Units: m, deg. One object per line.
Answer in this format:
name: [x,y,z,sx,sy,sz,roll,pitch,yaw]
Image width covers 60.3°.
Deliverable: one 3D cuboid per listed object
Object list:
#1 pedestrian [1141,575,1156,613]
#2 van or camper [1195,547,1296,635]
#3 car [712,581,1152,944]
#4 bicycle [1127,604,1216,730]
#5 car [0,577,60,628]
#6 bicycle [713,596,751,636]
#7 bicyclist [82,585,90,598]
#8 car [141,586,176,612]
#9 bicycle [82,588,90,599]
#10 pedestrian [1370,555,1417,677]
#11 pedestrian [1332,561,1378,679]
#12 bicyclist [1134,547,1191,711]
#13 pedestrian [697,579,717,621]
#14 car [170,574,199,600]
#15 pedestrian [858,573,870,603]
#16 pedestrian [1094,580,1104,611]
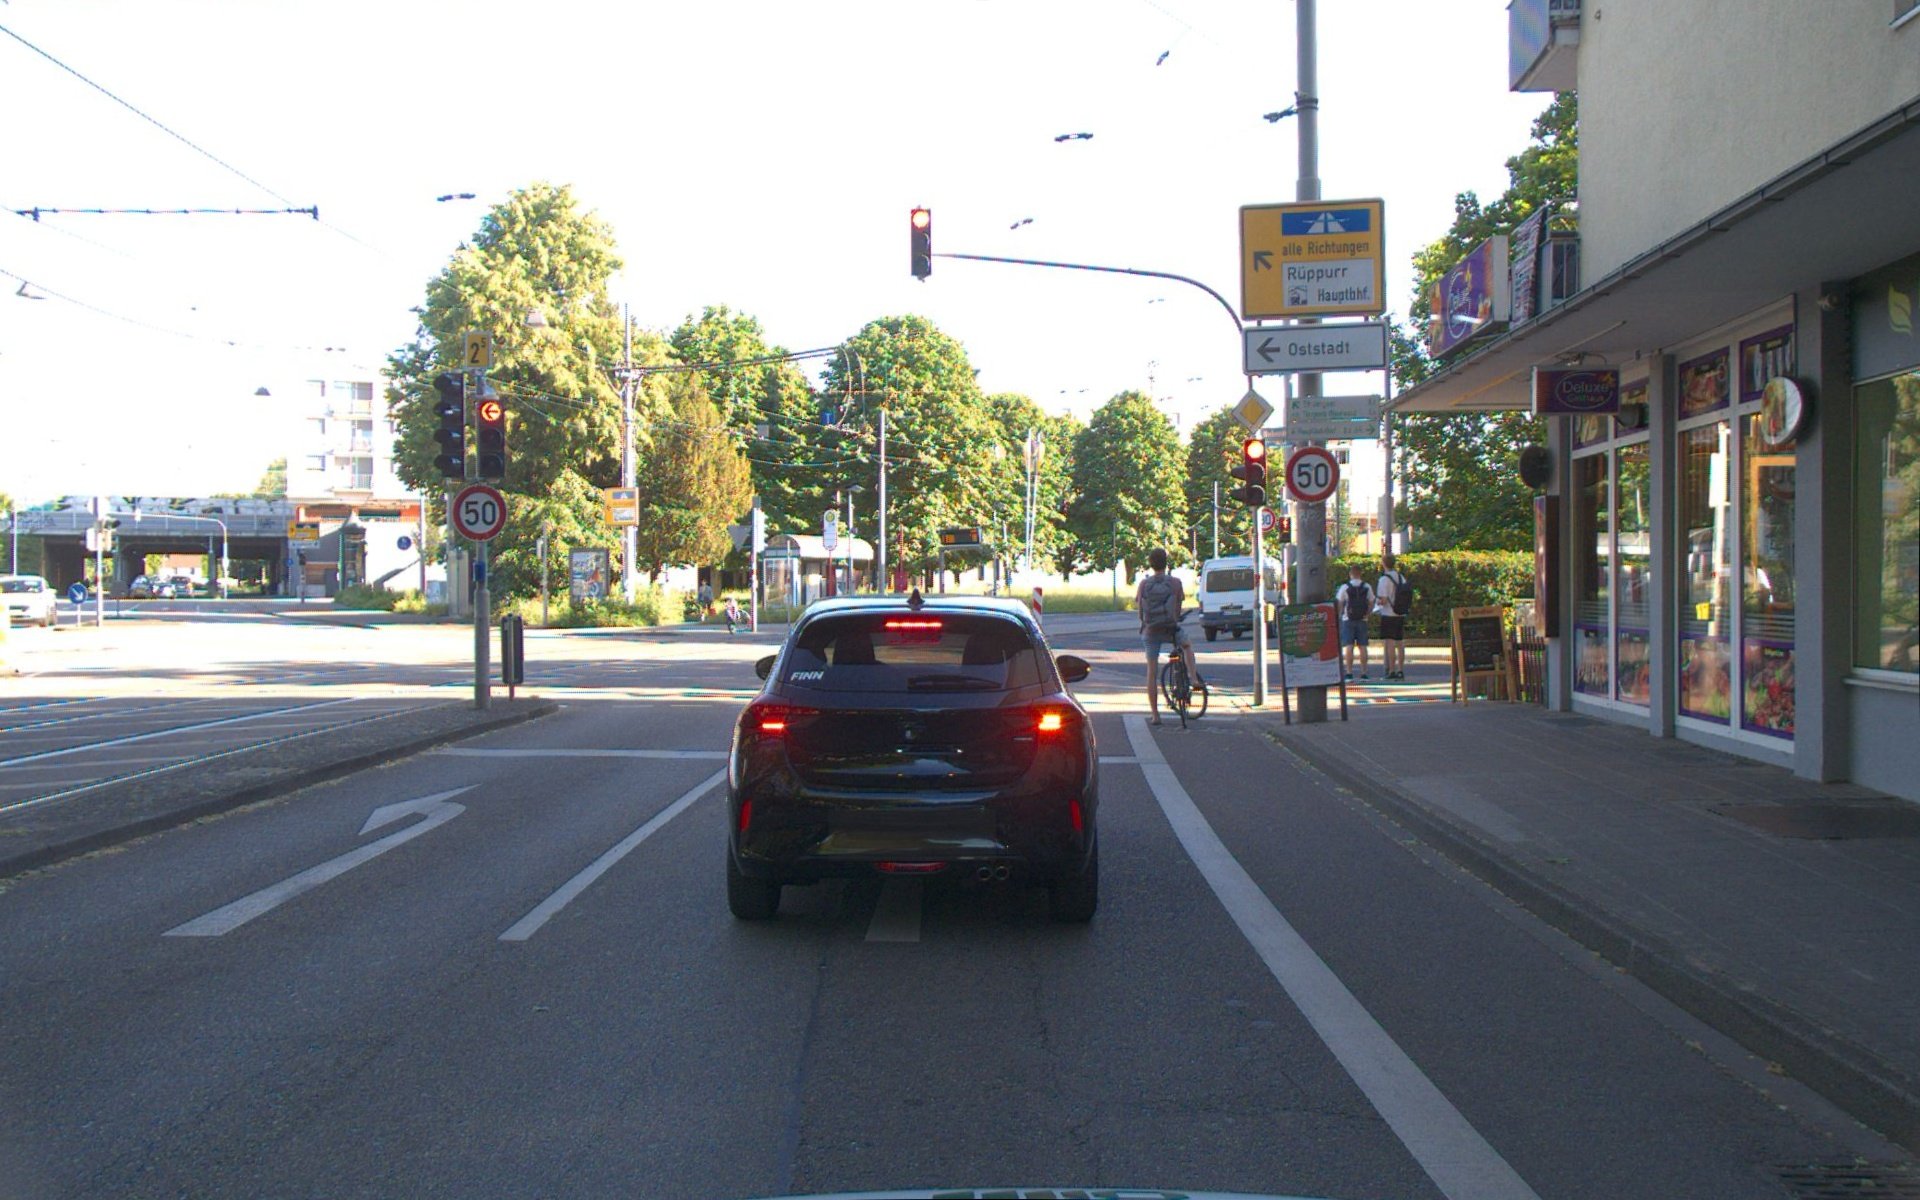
pedestrian: [9.475,-0.321,83.244,0.591,1.904,0.519,1,-1,24]
van or camper: [8.057,-0.227,46.366,1.987,2.351,4.540,1,0,20]
car: [-0.142,0.646,8.785,1.803,1.487,3.983,0,1,-1]
bicycle: [2.317,0.688,17.904,0.737,1.256,2.017,0,1,14]
car: [-31.126,0.072,54.849,1.860,1.613,3.809,1,0,-24]
bicycle: [-6.341,0.428,46.150,0.780,1.083,2.184,0,1,-1]
bicyclist: [-80.044,-0.766,151.478,0.518,1.244,0.526,0,0,-22]
car: [-51.815,-0.063,106.999,1.860,1.613,3.809,1,0,-24]
bicycle: [-80.041,-0.565,151.474,0.518,0.999,1.566,0,1,-22]
pedestrian: [6.715,0.244,25.593,0.620,1.852,0.745,1,-1,19]
pedestrian: [6.129,0.307,25.657,0.620,1.794,0.582,1,-1,19]
bicyclist: [2.176,0.300,17.733,0.522,1.722,0.568,0,0,16]
pedestrian: [-9.098,-0.012,59.498,0.558,1.498,0.666,0,0,3]
car: [-59.889,-1.012,127.763,1.883,1.914,4.810,-1,1,-24]
pedestrian: [-6.314,-0.786,109.256,0.723,1.904,0.661,1,-1,-7]
pedestrian: [8.352,-0.272,99.551,0.591,1.904,0.520,1,-1,6]
